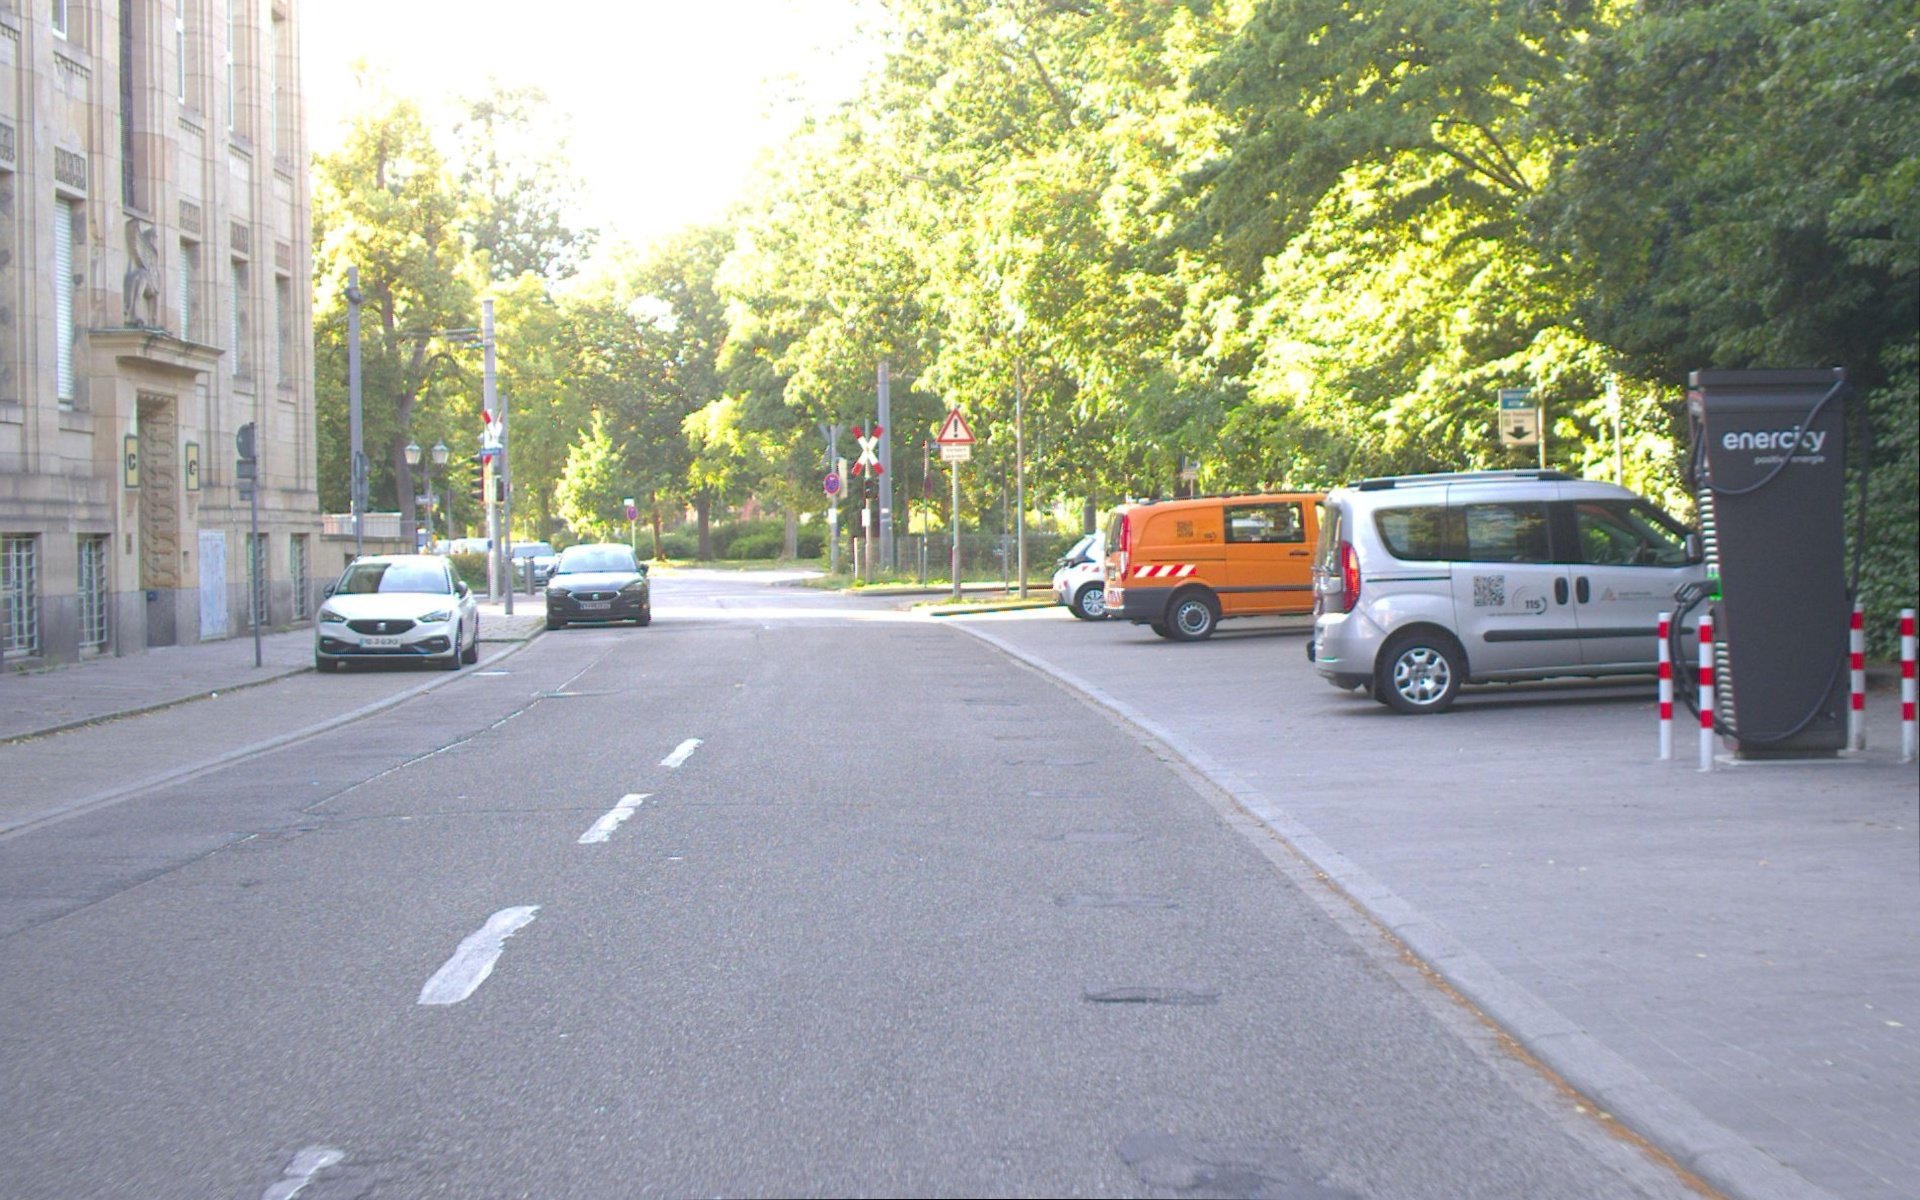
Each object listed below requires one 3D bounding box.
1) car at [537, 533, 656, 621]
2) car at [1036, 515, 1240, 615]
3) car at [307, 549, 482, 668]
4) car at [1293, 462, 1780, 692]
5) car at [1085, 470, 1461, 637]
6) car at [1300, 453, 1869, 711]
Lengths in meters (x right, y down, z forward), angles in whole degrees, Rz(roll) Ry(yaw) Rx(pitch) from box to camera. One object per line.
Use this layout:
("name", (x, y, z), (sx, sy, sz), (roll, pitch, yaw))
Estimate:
("car", (-6.443, -0.438, 61.316), (1.878, 1.461, 4.374), (-1, 2, -3))
("car", (2.983, -0.603, 57.953), (3.143, 1.498, 1.541), (-3, 1, -7))
("car", (-7.179, 0.068, 43.994), (1.727, 1.392, 4.374), (-1, 1, -3))
("car", (5.091, -0.214, 30.729), (4.024, 1.829, 1.614), (-3, 1, 1))
("car", (4.288, -0.655, 47.454), (4.817, 2.007, 1.802), (-3, 1, -7))
("car", (5.018, -0.155, 28.094), (4.229, 1.853, 2.000), (-3, 1, 1))
